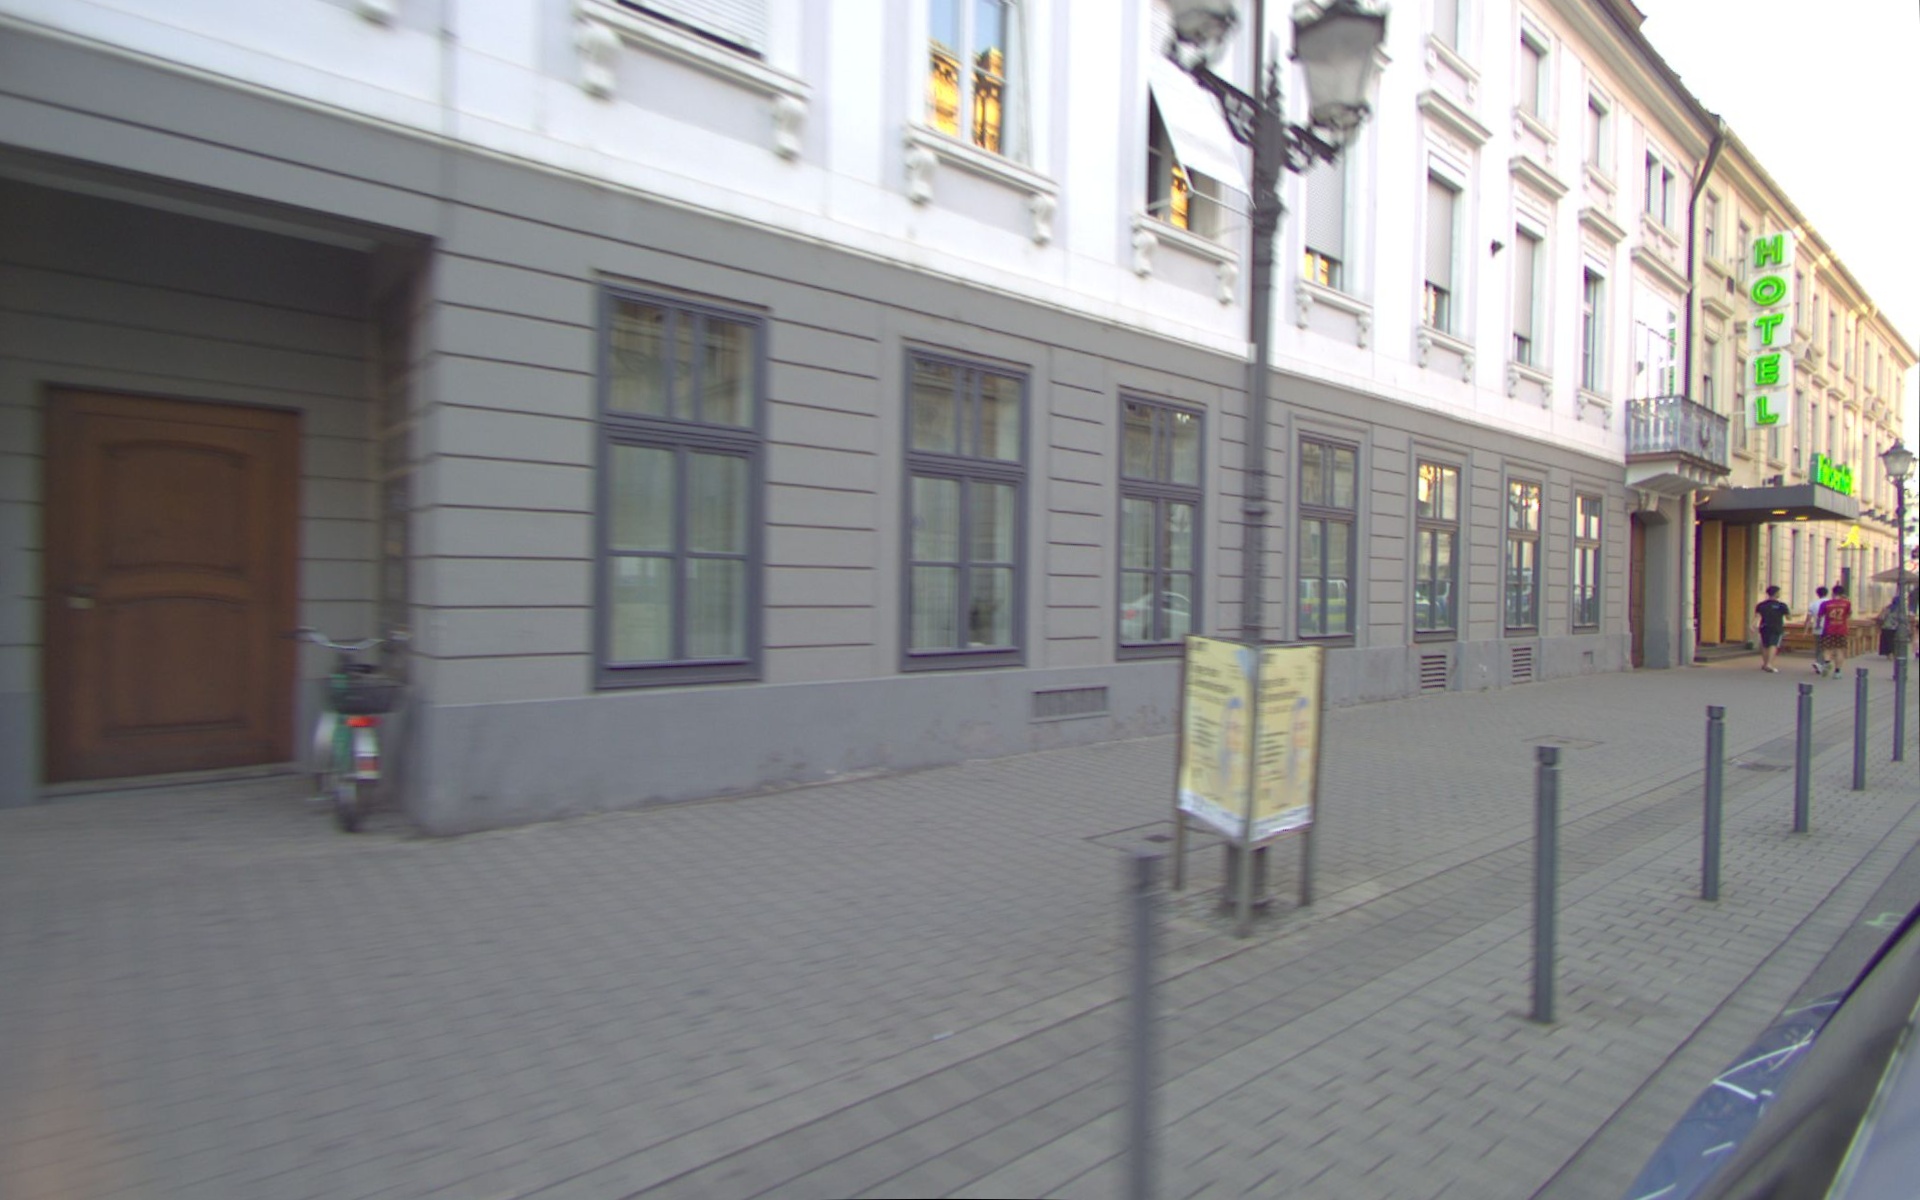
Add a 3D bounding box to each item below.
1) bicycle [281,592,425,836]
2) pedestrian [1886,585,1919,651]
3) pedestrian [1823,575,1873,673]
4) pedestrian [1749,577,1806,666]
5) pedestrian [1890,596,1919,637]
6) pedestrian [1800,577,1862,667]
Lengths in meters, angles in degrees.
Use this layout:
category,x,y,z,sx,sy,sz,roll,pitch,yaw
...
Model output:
category,x,y,z,sx,sy,sz,roll,pitch,yaw
bicycle,-3.721,0.604,6.150,0.431,1.268,1.659,0,1,-42
pedestrian,23.826,0.438,25.488,0.604,1.621,0.631,0,1,-39
pedestrian,16.937,0.432,19.316,0.618,1.812,0.901,1,1,37
pedestrian,16.711,0.421,20.697,0.857,1.751,0.715,0,1,-38
pedestrian,32.302,0.552,34.484,0.771,1.376,0.715,1,1,34
pedestrian,17.501,0.426,20.338,0.865,1.751,0.750,0,1,-37
